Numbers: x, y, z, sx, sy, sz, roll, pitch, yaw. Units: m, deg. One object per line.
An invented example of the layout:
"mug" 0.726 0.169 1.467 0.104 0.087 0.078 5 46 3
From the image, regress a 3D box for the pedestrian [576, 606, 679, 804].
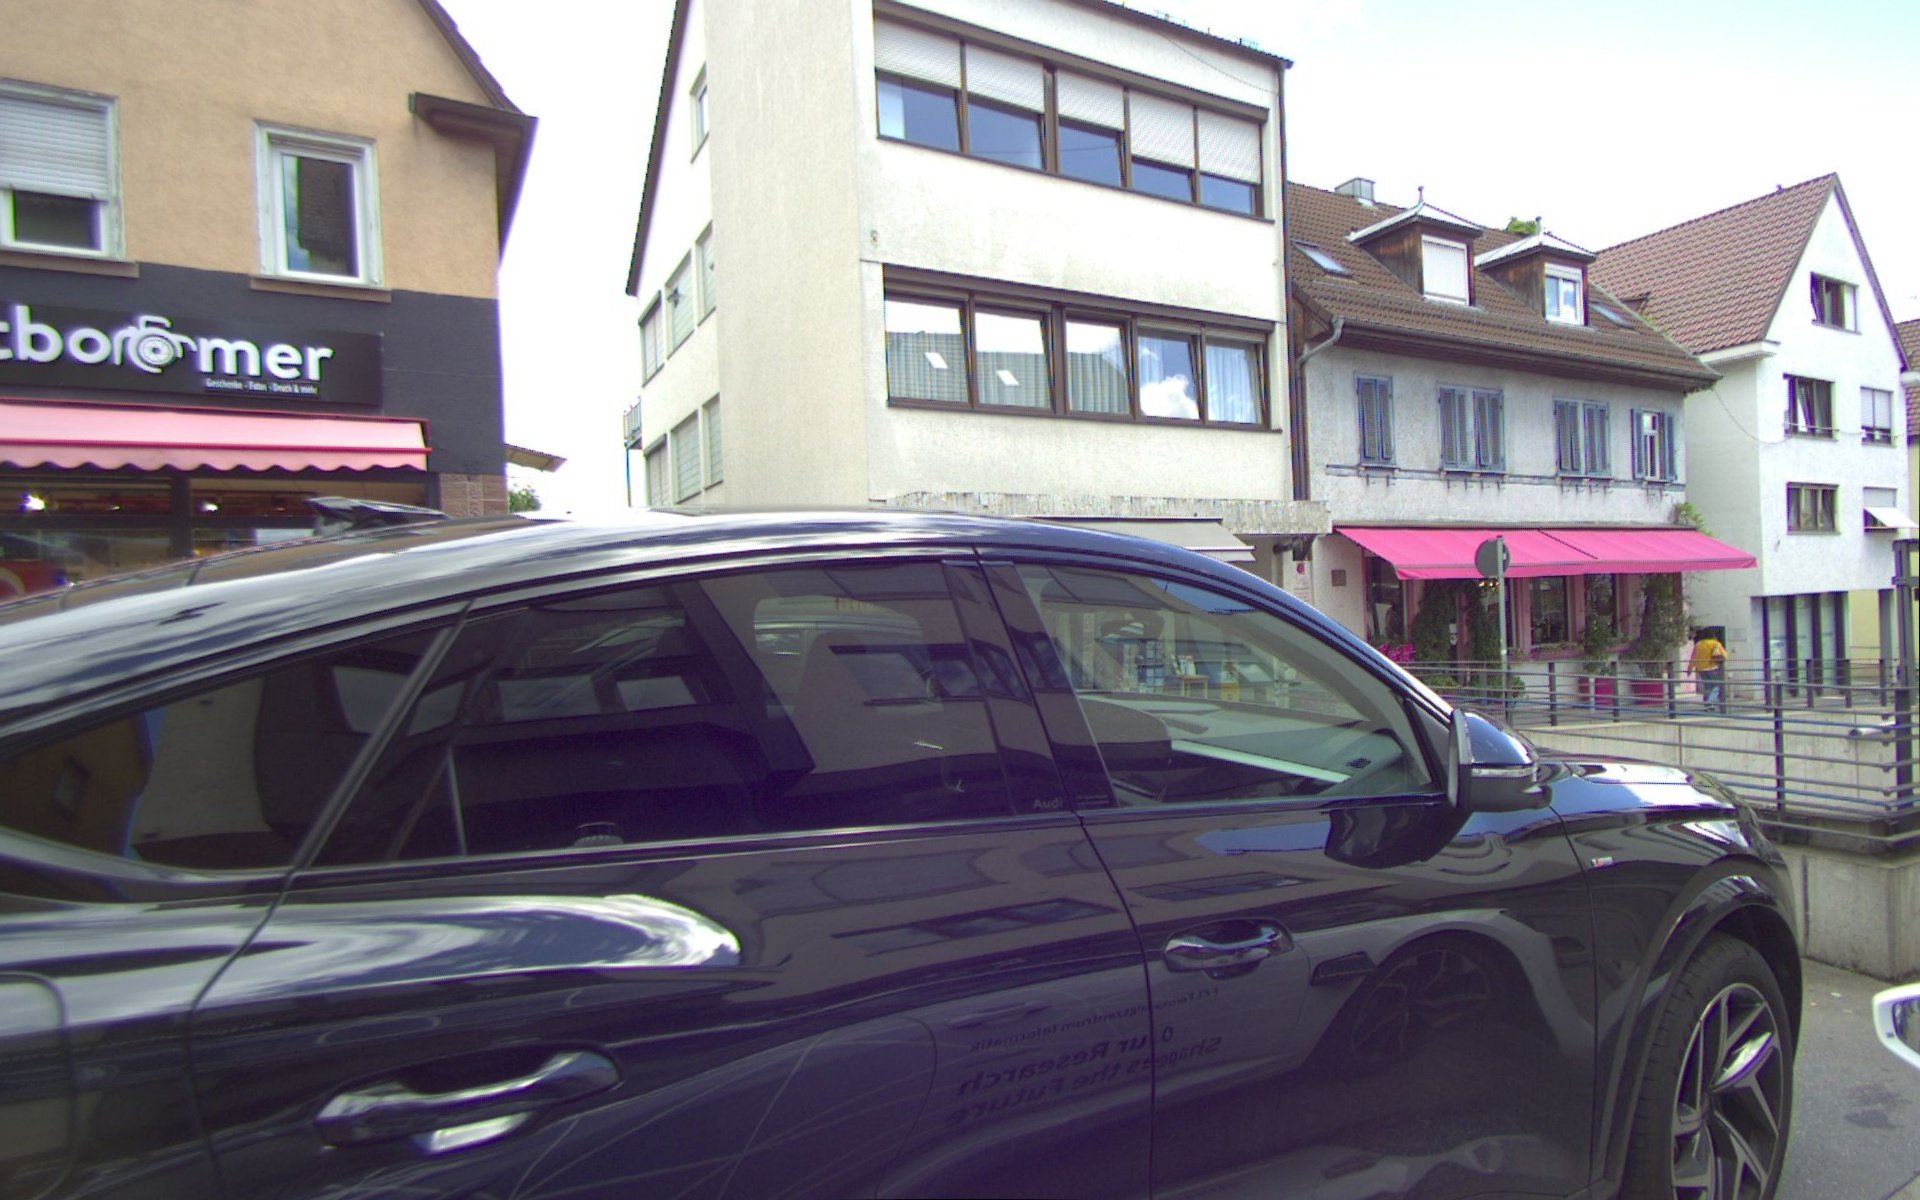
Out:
"pedestrian" -2.989 0.916 9.061 0.653 1.711 0.646 -1 -1 10

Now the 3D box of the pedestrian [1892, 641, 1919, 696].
"pedestrian" 25.386 1.816 26.889 0.527 1.440 0.455 1 0 -28

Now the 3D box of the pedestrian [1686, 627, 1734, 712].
"pedestrian" 15.518 1.431 20.787 0.570 1.711 0.575 1 0 -31

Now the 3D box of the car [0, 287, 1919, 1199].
"car" 0.038 0.651 2.182 4.264 1.661 1.947 2 0 -31

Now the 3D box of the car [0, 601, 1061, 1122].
"car" -1.589 0.801 4.637 3.840 1.495 1.730 1 -1 -32
